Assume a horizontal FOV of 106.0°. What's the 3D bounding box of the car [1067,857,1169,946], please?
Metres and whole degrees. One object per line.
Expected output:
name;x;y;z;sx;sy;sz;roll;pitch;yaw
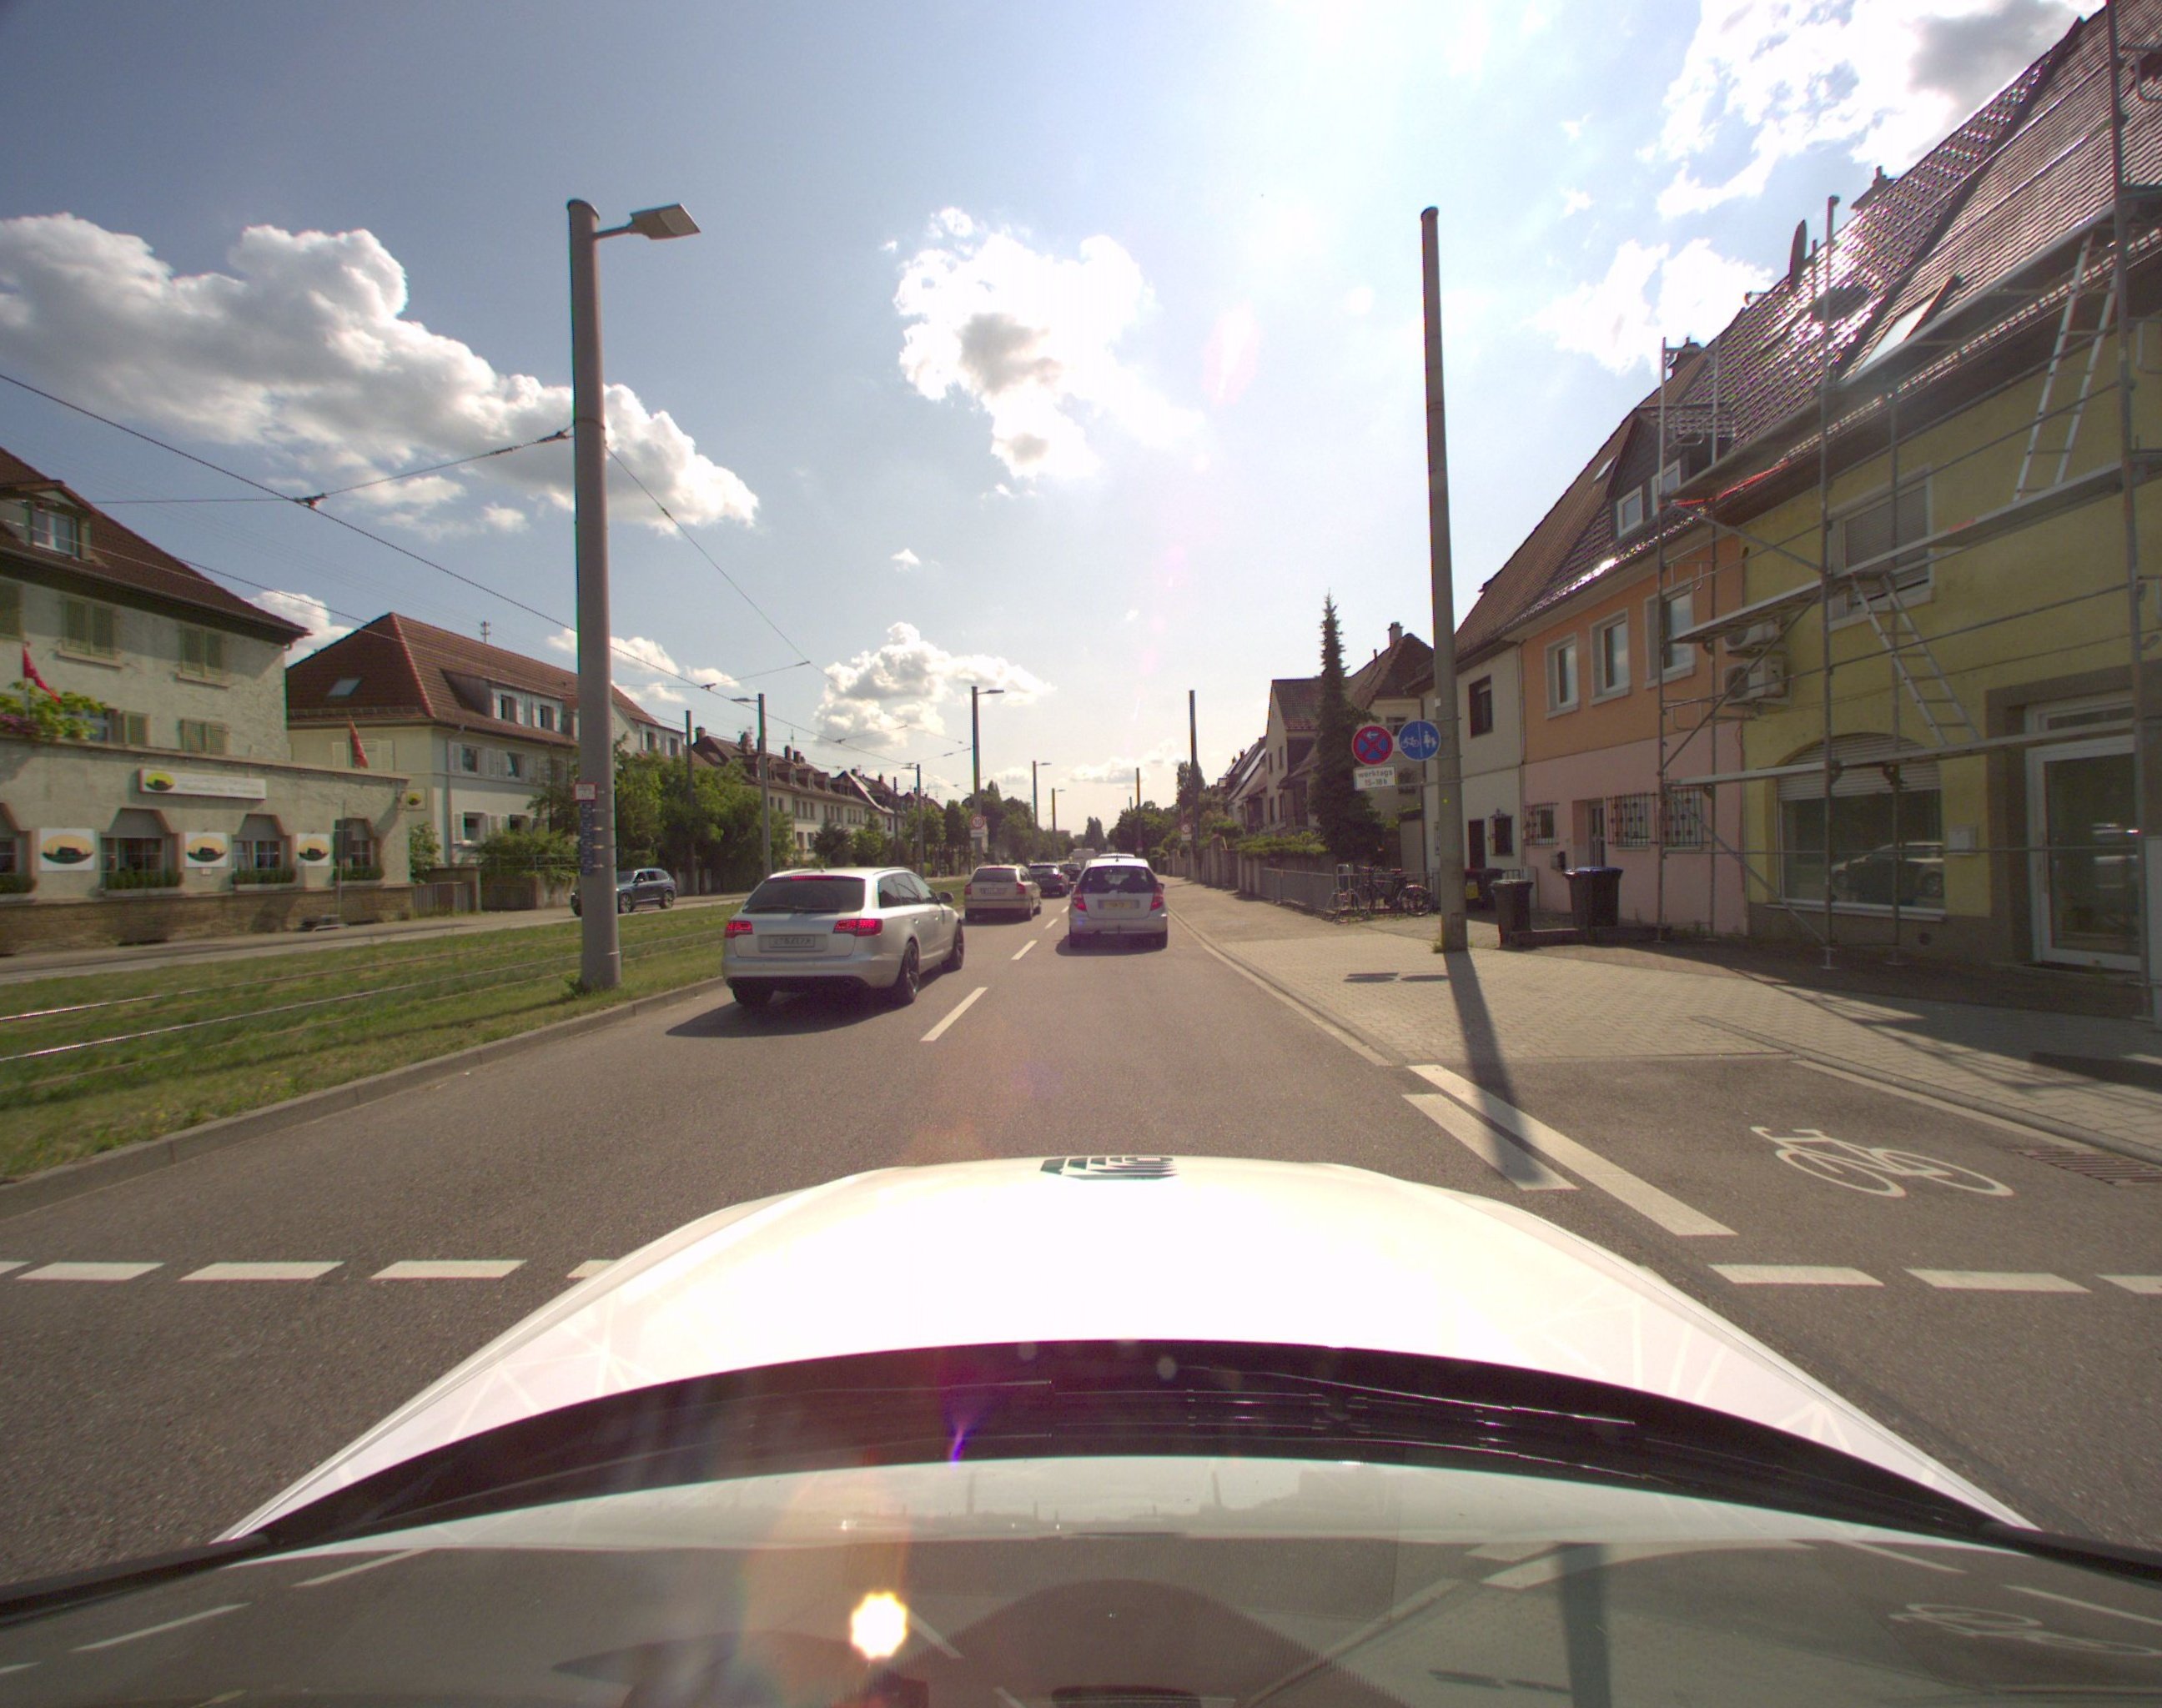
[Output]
car;0.657;0.829;15.899;1.724;1.517;4.016;0;-1;1

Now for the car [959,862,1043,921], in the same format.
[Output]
car;-2.080;0.957;22.318;1.724;1.449;4.125;0;-1;2

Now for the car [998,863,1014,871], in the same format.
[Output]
car;-12.980;2.245;141.333;1.908;1.477;4.567;0;0;4

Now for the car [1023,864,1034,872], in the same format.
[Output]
car;-11.294;3.027;175.811;1.908;1.477;4.567;0;0;4

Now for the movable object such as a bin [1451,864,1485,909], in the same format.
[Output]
movable object such as a bin;8.522;0.706;17.945;0.466;0.946;0.558;-2;-1;2

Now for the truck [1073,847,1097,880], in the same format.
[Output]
truck;0.329;0.781;66.457;1.846;2.552;5.855;0;-1;0

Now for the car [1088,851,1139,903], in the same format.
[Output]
car;1.183;0.811;29.605;1.723;1.762;4.019;0;-1;2

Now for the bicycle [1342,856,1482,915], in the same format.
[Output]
bicycle;7.090;0.670;17.539;2.652;1.105;0.786;-3;-1;1

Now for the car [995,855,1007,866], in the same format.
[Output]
car;-17.139;1.489;174.815;1.908;2.330;4.567;0;0;4

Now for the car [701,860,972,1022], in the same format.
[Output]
car;-2.633;0.835;10.058;1.788;1.472;4.723;-1;0;1

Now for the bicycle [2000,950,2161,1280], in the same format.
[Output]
bicycle;4.174;0.952;2.360;0.825;1.075;1.973;-3;0;3

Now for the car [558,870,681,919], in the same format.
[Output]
car;-18.615;1.574;33.170;2.007;1.711;4.938;-3;-1;1

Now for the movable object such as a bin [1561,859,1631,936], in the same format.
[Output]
movable object such as a bin;7.677;0.631;12.176;0.509;1.105;0.855;-1;-1;3

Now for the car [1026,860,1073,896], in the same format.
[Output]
car;-1.341;1.024;36.115;1.910;1.477;4.561;0;0;0

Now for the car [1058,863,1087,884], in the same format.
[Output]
car;-0.557;1.270;54.598;1.846;1.388;4.514;0;-1;0

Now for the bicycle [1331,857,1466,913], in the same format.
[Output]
bicycle;7.092;0.684;18.268;2.716;1.120;0.691;-3;-1;1

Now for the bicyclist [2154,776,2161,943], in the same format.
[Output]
bicyclist;4.157;0.611;2.276;0.824;1.793;1.085;-3;0;4

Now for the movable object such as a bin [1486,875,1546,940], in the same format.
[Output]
movable object such as a bin;6.445;0.779;12.093;0.509;0.918;0.742;-1;-1;2

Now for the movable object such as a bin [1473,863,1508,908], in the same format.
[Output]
movable object such as a bin;9.011;0.686;17.928;0.466;0.946;0.558;-2;-1;2
